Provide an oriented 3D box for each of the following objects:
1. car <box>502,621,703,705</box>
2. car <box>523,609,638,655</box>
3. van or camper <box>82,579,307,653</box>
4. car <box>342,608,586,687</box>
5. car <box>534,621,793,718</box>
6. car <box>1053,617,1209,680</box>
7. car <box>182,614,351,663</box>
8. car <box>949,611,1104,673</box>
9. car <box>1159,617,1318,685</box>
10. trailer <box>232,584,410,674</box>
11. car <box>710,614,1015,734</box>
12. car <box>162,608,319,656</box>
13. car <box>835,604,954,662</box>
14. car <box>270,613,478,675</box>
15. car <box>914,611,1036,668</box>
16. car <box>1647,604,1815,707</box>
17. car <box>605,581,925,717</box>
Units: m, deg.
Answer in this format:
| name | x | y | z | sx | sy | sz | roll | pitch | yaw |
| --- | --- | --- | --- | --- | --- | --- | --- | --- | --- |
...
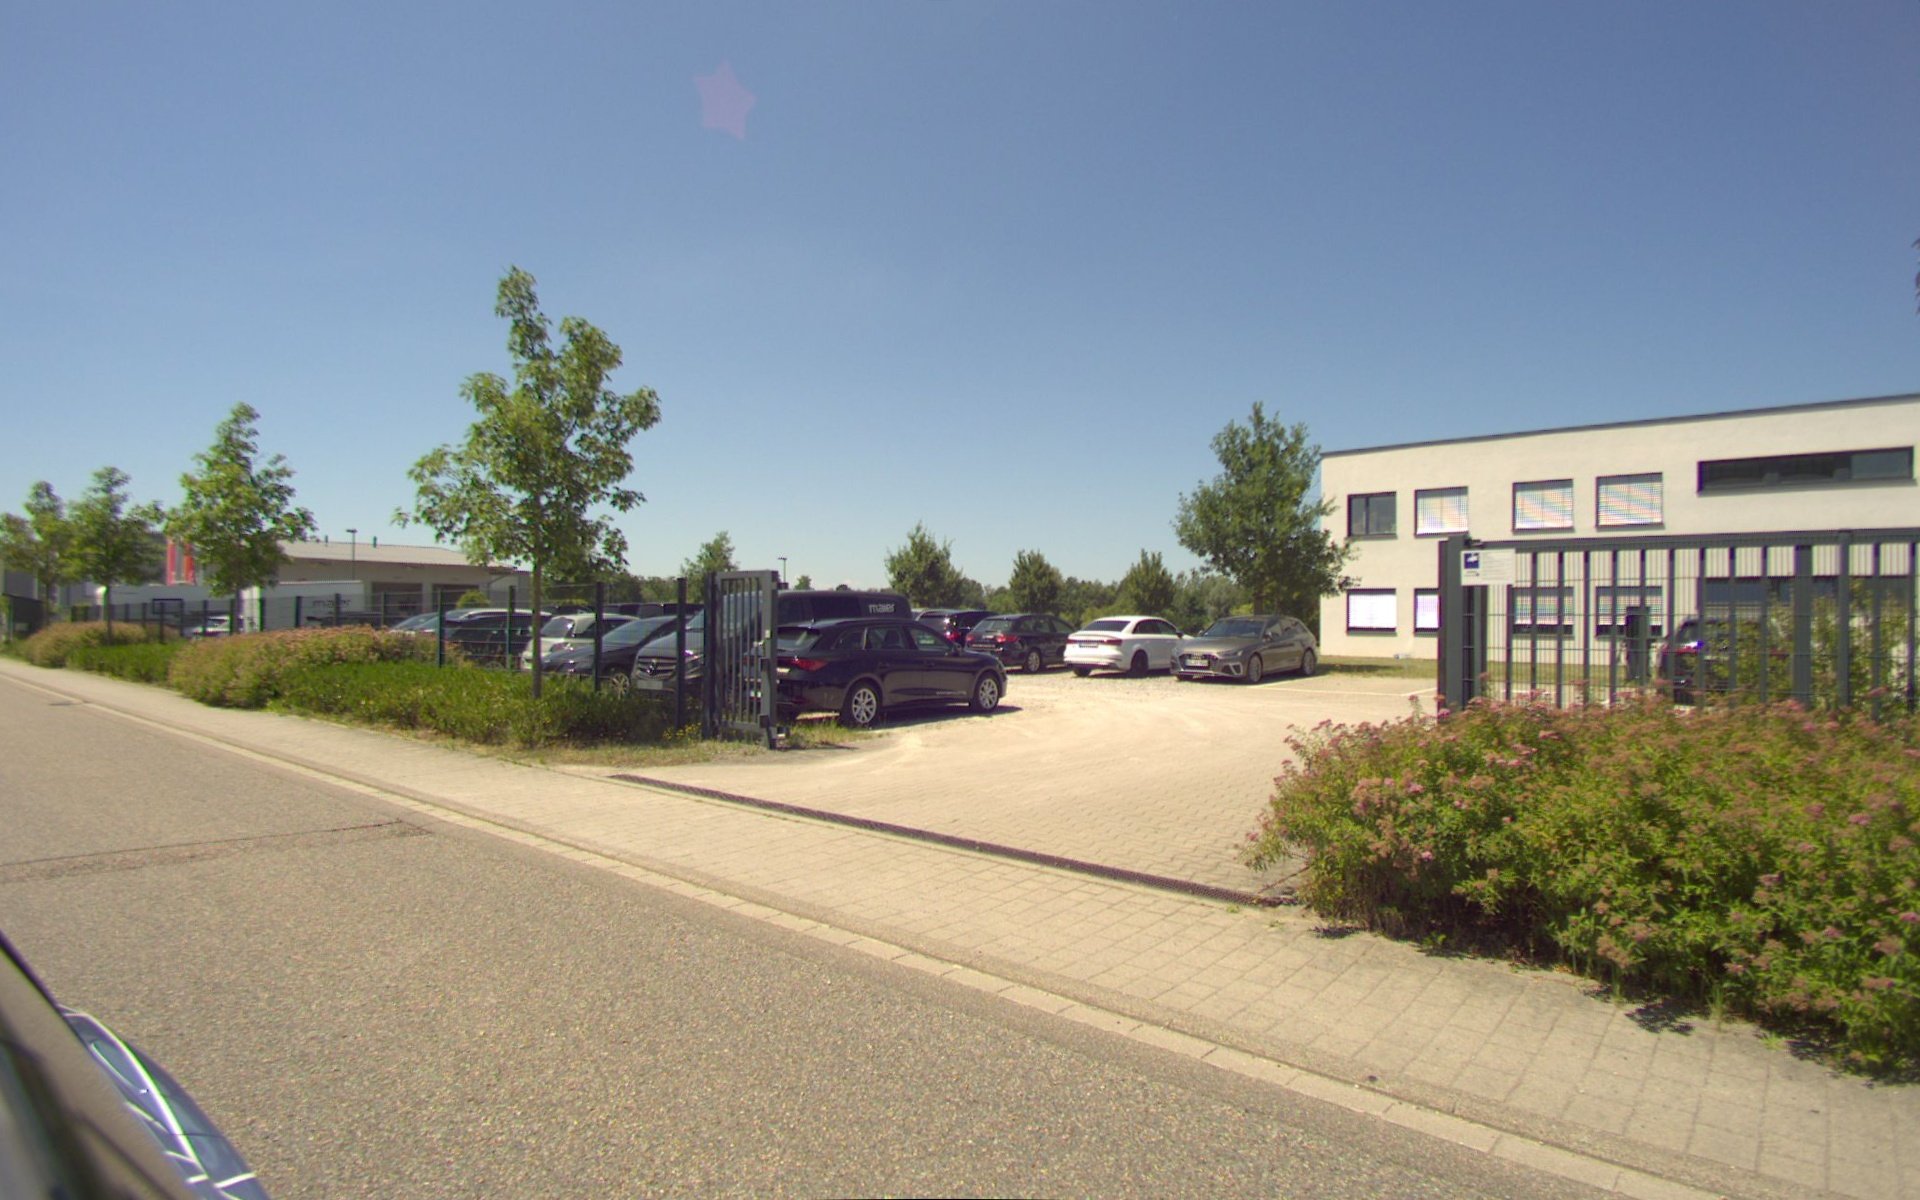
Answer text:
| name | x | y | z | sx | sy | sz | roll | pitch | yaw |
| --- | --- | --- | --- | --- | --- | --- | --- | --- | --- |
| car | -7.142 | 1.188 | 20.405 | 1.903 | 1.510 | 3.336 | -1 | -1 | 40 |
| car | -15.506 | 1.295 | 41.489 | 1.998 | 1.785 | 3.947 | -1 | -2 | 39 |
| van or camper | -30.056 | 0.680 | 39.988 | 2.574 | 2.704 | 6.705 | -1 | -2 | 41 |
| car | -11.376 | 1.046 | 23.495 | 1.999 | 1.641 | 4.682 | -1 | -2 | 41 |
| car | -5.237 | 1.148 | 18.279 | 1.903 | 1.510 | 4.150 | -1 | -1 | 40 |
| car | 4.151 | 1.087 | 24.145 | 1.879 | 1.361 | 4.065 | -1 | -1 | 40 |
| car | -22.342 | 1.215 | 32.725 | 1.775 | 1.463 | 4.166 | -1 | -2 | 38 |
| car | 1.754 | 1.001 | 25.638 | 1.879 | 1.425 | 4.065 | -1 | -1 | 40 |
| car | 6.261 | 1.059 | 22.500 | 1.879 | 1.361 | 4.065 | -1 | -1 | 40 |
| trailer | -18.186 | 0.761 | 28.944 | 1.724 | 2.378 | 3.949 | -1 | 0 | 38 |
| car | -1.265 | 0.939 | 14.633 | 1.963 | 1.457 | 4.261 | -1 | -1 | 40 |
| car | -26.670 | 1.160 | 37.627 | 1.776 | 1.678 | 4.464 | -1 | -2 | 40 |
| car | -1.842 | 0.924 | 29.302 | 1.476 | 1.596 | 3.436 | -1 | -1 | 40 |
| car | -15.801 | 1.139 | 27.465 | 1.999 | 1.547 | 4.499 | -1 | -2 | 41 |
| car | 0.454 | 1.027 | 27.445 | 1.476 | 1.425 | 3.436 | -1 | -1 | 40 |
| car | 13.081 | 0.851 | 17.076 | 1.999 | 1.508 | 4.047 | -1 | -1 | 41 |
| car | -2.974 | 0.709 | 16.457 | 1.963 | 1.865 | 5.007 | -1 | -1 | 40 |
